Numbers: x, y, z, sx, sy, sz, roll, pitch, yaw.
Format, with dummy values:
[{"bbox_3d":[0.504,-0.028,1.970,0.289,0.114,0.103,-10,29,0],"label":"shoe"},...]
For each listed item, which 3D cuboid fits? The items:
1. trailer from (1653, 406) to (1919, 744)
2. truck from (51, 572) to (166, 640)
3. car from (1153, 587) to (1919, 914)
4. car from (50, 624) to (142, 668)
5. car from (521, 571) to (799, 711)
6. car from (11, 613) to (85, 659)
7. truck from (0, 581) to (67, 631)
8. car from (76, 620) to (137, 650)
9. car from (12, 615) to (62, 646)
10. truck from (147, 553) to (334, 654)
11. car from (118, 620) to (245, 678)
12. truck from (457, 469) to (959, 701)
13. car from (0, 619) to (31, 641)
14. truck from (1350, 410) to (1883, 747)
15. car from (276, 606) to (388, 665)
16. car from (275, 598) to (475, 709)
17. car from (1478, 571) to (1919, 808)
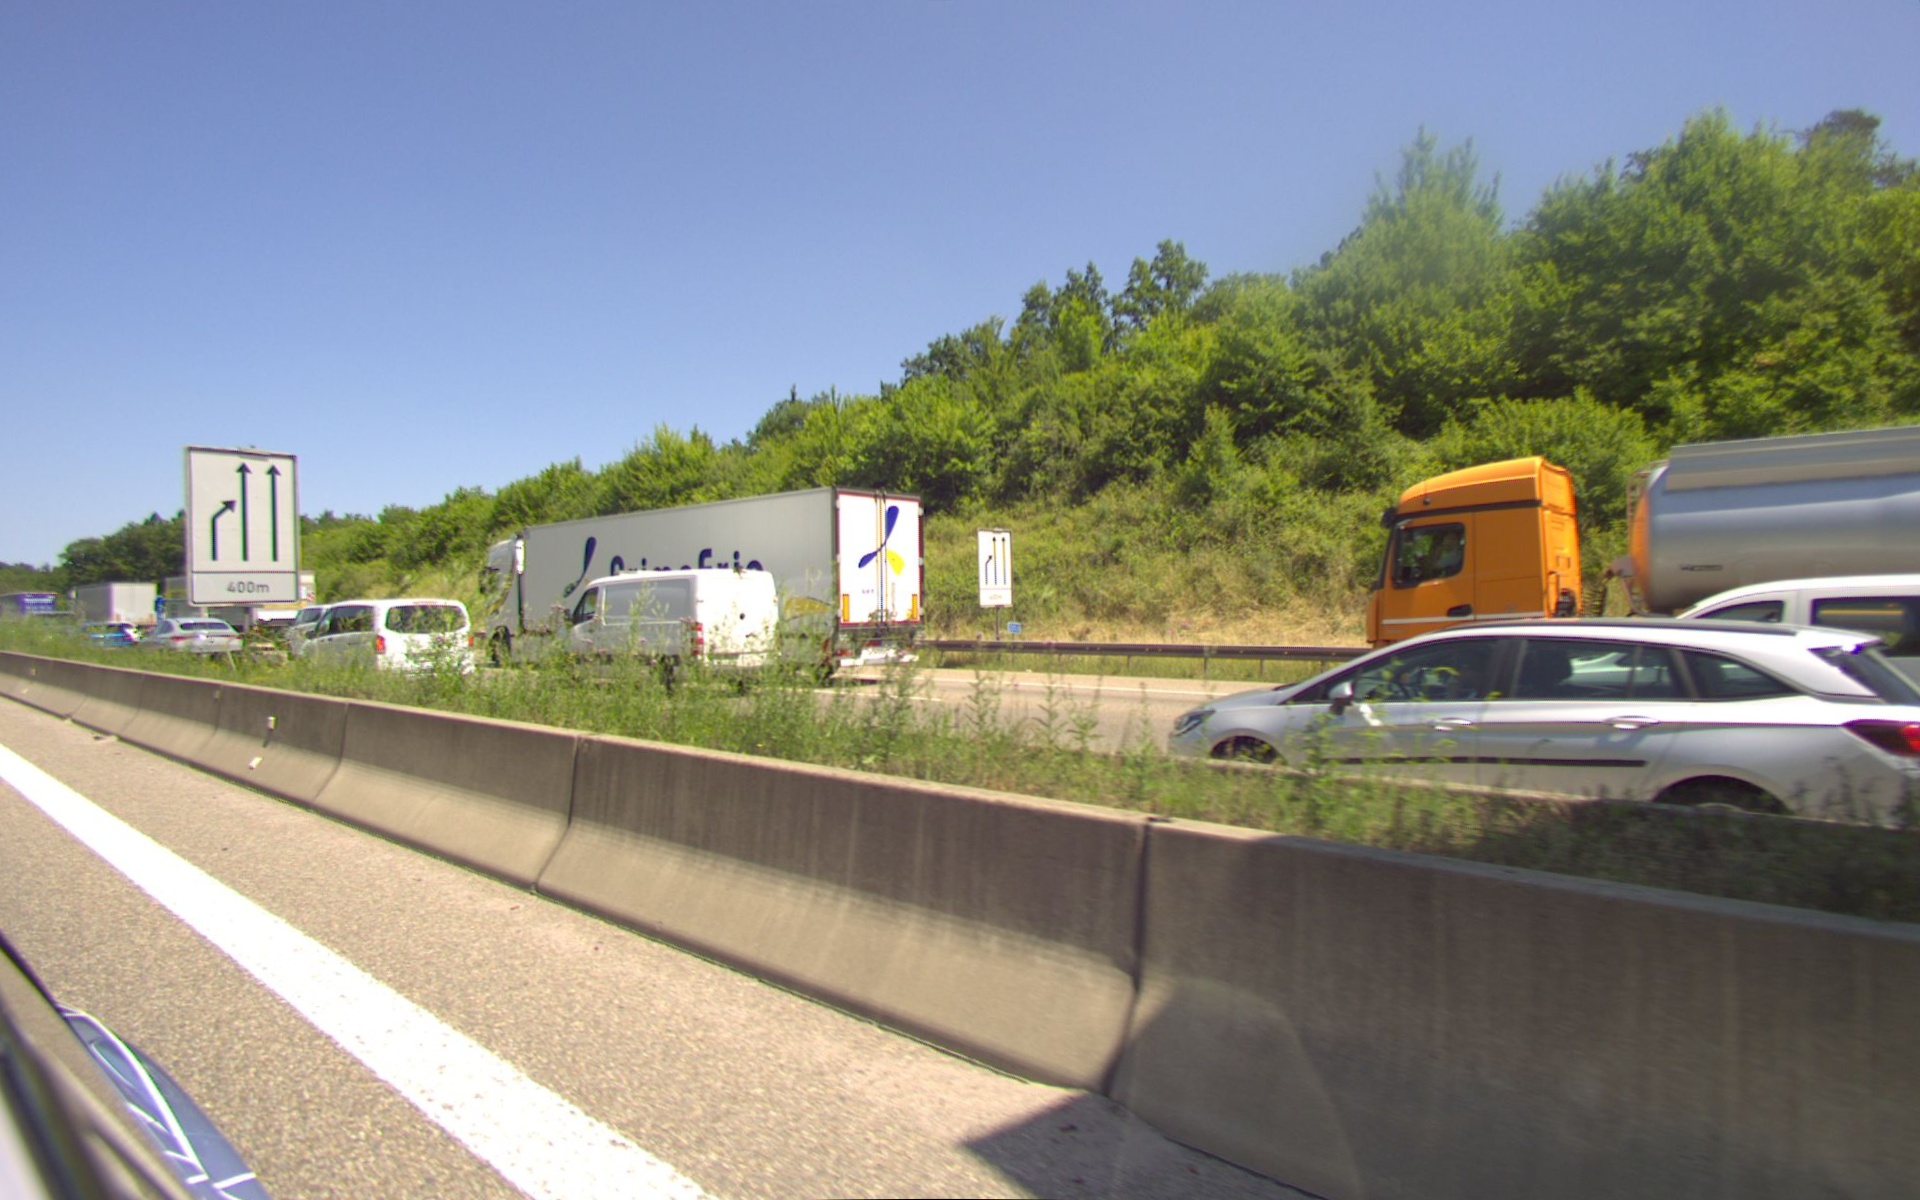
[{"bbox_3d":[13.010,-0.279,8.462,11.691,3.319,2.551,-1,0,41],"label":"trailer"},{"bbox_3d":[-63.611,0.459,75.262,19.443,4.490,3.658,-1,0,41],"label":"truck"},{"bbox_3d":[3.775,0.702,6.391,4.755,1.508,1.809,-1,0,40],"label":"car"},{"bbox_3d":[-32.578,1.690,38.114,4.967,1.489,1.808,-1,0,40],"label":"car"},{"bbox_3d":[-6.232,0.724,20.415,6.537,2.402,2.162,-1,0,40],"label":"car"},{"bbox_3d":[-41.551,1.583,46.087,4.967,1.930,1.808,-1,0,40],"label":"car"},{"bbox_3d":[-91.810,0.579,99.474,19.443,4.490,3.658,-1,0,41],"label":"truck"},{"bbox_3d":[-45.796,1.859,54.297,4.031,1.481,1.814,-1,0,39],"label":"car"},{"bbox_3d":[-63.536,2.075,69.624,4.753,2.039,1.872,-1,0,39],"label":"car"},{"bbox_3d":[-38.192,0.214,53.037,19.443,4.490,3.658,-1,0,41],"label":"truck"},{"bbox_3d":[-22.939,1.368,29.746,5.394,1.489,1.808,-1,0,40],"label":"car"},{"bbox_3d":[-7.733,-0.235,26.710,17.373,4.490,3.658,-1,0,41],"label":"truck"},{"bbox_3d":[-75.511,2.364,80.367,4.753,1.691,1.872,-1,0,39],"label":"car"},{"bbox_3d":[8.009,-0.163,12.797,5.181,3.391,2.469,-2,-1,40],"label":"truck"},{"bbox_3d":[-22.755,1.205,36.569,2.159,1.955,5.889,0,0,-45],"label":"car"},{"bbox_3d":[-12.164,0.991,20.832,5.662,1.992,1.807,-1,0,41],"label":"car"},{"bbox_3d":[7.272,0.672,8.688,4.755,1.776,1.809,-1,0,40],"label":"car"}]
